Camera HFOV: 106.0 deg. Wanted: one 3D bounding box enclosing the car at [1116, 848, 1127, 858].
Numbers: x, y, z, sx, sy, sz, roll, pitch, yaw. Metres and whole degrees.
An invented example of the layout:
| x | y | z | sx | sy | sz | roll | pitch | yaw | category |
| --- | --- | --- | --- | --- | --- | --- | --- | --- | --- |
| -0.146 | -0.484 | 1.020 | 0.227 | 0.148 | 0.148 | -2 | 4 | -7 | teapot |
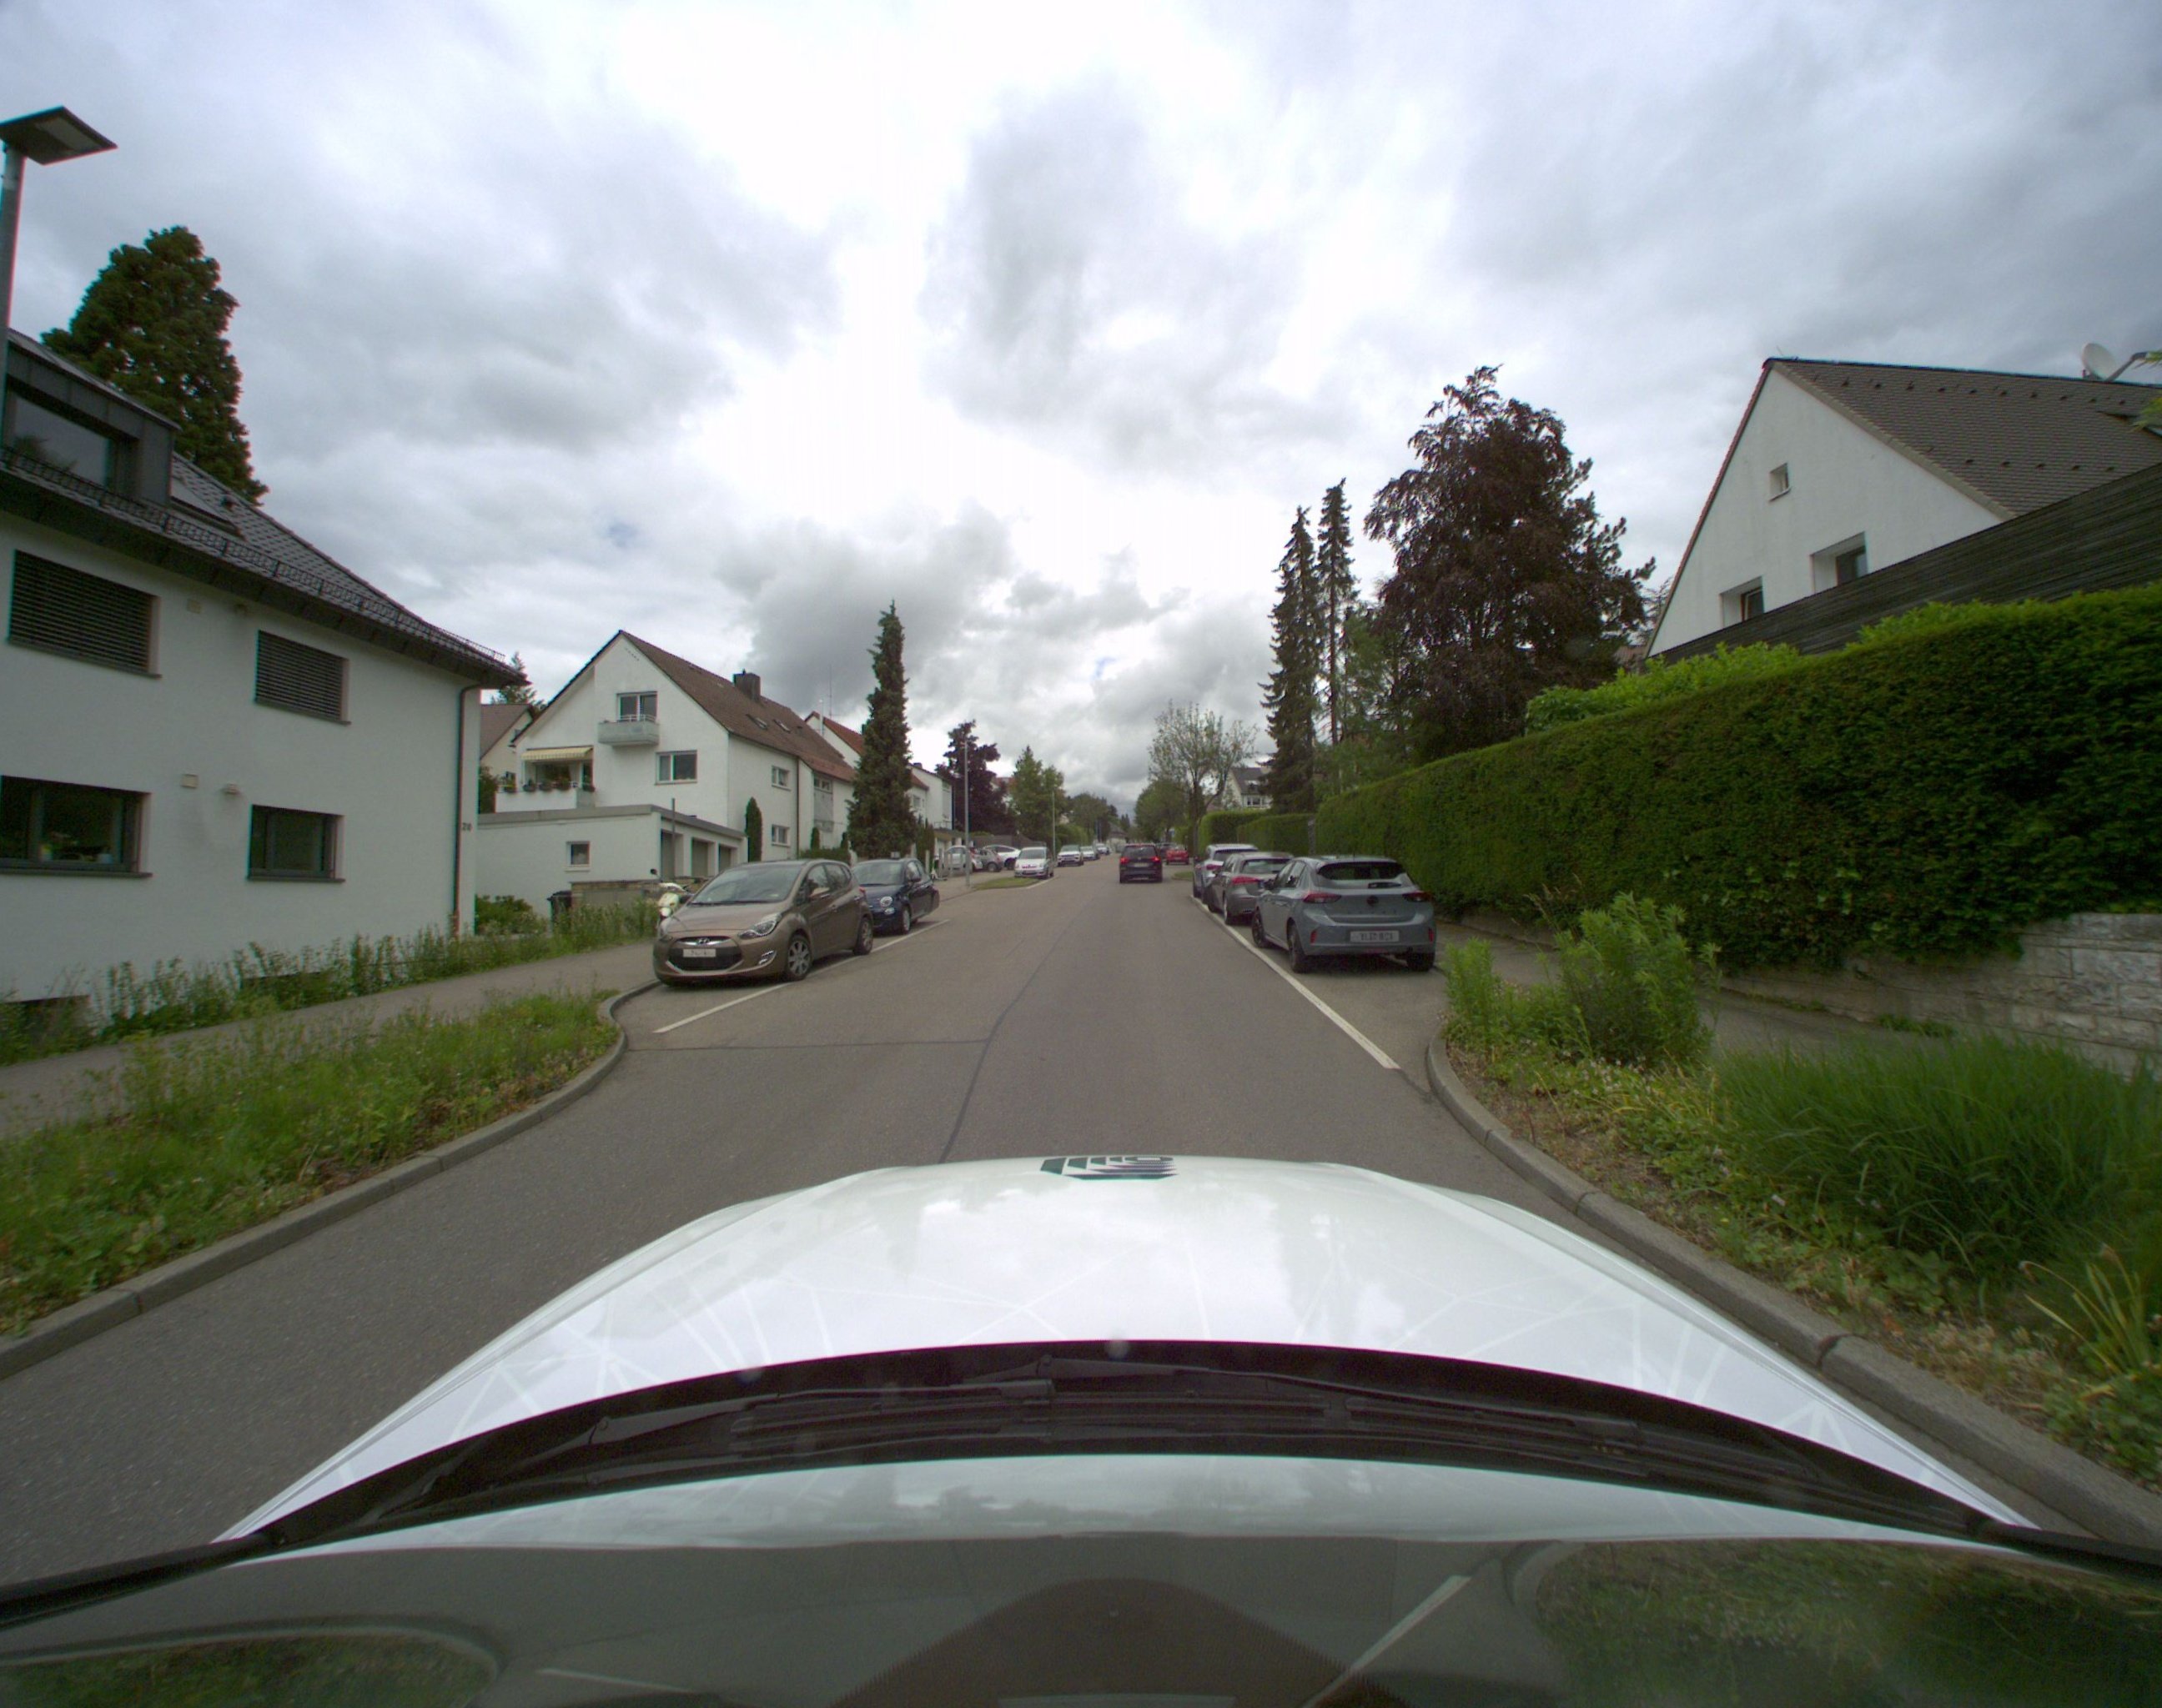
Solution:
| x | y | z | sx | sy | sz | roll | pitch | yaw | category |
| --- | --- | --- | --- | --- | --- | --- | --- | --- | --- |
| 7.816 | -0.244 | 156.664 | 1.877 | 1.850 | 4.406 | -2 | 0 | 4 | car |

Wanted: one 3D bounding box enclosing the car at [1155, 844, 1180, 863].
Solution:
| x | y | z | sx | sy | sz | roll | pitch | yaw | category |
| --- | --- | --- | --- | --- | --- | --- | --- | --- | --- |
| 7.425 | -0.058 | 70.193 | 1.984 | 1.618 | 4.520 | 1 | 0 | 5 | car |

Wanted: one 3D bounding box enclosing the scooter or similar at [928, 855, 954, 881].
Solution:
| x | y | z | sx | sy | sz | roll | pitch | yaw | category |
| --- | --- | --- | --- | --- | --- | --- | --- | --- | --- |
| -6.310 | 0.621 | 36.864 | 0.470 | 1.148 | 1.462 | 1 | 1 | 20 | scooter or similar |

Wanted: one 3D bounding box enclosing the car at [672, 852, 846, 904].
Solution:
| x | y | z | sx | sy | sz | roll | pitch | yaw | category |
| --- | --- | --- | --- | --- | --- | --- | --- | --- | --- |
| -9.327 | 0.675 | 23.872 | 4.274 | 1.367 | 1.903 | -1 | 1 | -2 | car |

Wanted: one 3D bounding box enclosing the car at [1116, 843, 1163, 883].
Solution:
| x | y | z | sx | sy | sz | roll | pitch | yaw | category |
| --- | --- | --- | --- | --- | --- | --- | --- | --- | --- |
| 2.552 | 0.355 | 34.828 | 1.839 | 1.611 | 4.317 | -1 | 0 | 5 | car |

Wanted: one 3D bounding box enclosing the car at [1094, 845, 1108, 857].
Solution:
| x | y | z | sx | sy | sz | roll | pitch | yaw | category |
| --- | --- | --- | --- | --- | --- | --- | --- | --- | --- |
| 2.616 | -0.417 | 106.206 | 1.716 | 1.540 | 4.002 | -2 | 1 | 2 | car |

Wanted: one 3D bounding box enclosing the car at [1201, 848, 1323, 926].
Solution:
| x | y | z | sx | sy | sz | roll | pitch | yaw | category |
| --- | --- | --- | --- | --- | --- | --- | --- | --- | --- |
| 3.734 | 0.622 | 17.495 | 1.847 | 1.464 | 4.175 | 0 | 0 | 2 | car |

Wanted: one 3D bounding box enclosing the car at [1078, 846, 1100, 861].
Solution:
| x | y | z | sx | sy | sz | roll | pitch | yaw | category |
| --- | --- | --- | --- | --- | --- | --- | --- | --- | --- |
| 0.839 | -0.085 | 81.840 | 1.829 | 1.422 | 4.413 | -3 | 0 | 4 | car |

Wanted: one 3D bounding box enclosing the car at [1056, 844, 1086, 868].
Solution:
| x | y | z | sx | sy | sz | roll | pitch | yaw | category |
| --- | --- | --- | --- | --- | --- | --- | --- | --- | --- |
| -0.759 | 0.119 | 63.202 | 1.828 | 1.666 | 4.415 | -3 | 0 | 5 | car |

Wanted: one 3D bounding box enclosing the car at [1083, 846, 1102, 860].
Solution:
| x | y | z | sx | sy | sz | roll | pitch | yaw | category |
| --- | --- | --- | --- | --- | --- | --- | --- | --- | --- |
| 1.263 | -0.137 | 86.768 | 1.719 | 1.423 | 4.085 | -2 | 0 | 5 | car |

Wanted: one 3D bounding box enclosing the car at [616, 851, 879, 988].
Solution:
| x | y | z | sx | sy | sz | roll | pitch | yaw | category |
| --- | --- | --- | --- | --- | --- | --- | --- | --- | --- |
| -4.471 | 0.774 | 11.653 | 1.869 | 1.585 | 3.877 | -1 | 0 | 5 | car |

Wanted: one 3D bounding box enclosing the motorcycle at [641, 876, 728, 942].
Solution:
| x | y | z | sx | sy | sz | roll | pitch | yaw | category |
| --- | --- | --- | --- | --- | --- | --- | --- | --- | --- |
| -7.667 | 1.039 | 15.843 | 0.426 | 1.161 | 1.869 | -2 | -1 | 12 | motorcycle |

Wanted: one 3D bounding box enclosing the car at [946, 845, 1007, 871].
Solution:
| x | y | z | sx | sy | sz | roll | pitch | yaw | category |
| --- | --- | --- | --- | --- | --- | --- | --- | --- | --- |
| -6.472 | 0.252 | 50.737 | 3.412 | 1.512 | 1.695 | 1 | -1 | 5 | car |

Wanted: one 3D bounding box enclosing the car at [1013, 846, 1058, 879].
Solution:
| x | y | z | sx | sy | sz | roll | pitch | yaw | category |
| --- | --- | --- | --- | --- | --- | --- | --- | --- | --- |
| -2.280 | 0.403 | 41.460 | 1.753 | 1.563 | 3.860 | -2 | 0 | 4 | car |

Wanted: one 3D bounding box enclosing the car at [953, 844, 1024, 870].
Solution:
| x | y | z | sx | sy | sz | roll | pitch | yaw | category |
| --- | --- | --- | --- | --- | --- | --- | --- | --- | --- |
| -6.183 | 0.188 | 54.499 | 4.393 | 1.629 | 1.912 | 2 | 0 | 3 | car |

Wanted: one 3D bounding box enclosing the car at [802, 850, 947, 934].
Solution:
| x | y | z | sx | sy | sz | roll | pitch | yaw | category |
| --- | --- | --- | --- | --- | --- | --- | --- | --- | --- |
| -4.205 | 0.712 | 17.146 | 1.869 | 1.536 | 3.512 | -1 | 0 | 4 | car |

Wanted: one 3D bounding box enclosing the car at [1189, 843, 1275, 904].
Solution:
| x | y | z | sx | sy | sz | roll | pitch | yaw | category |
| --- | --- | --- | --- | --- | --- | --- | --- | --- | --- |
| 4.193 | 0.494 | 23.205 | 1.847 | 1.582 | 4.175 | 0 | 0 | 2 | car |

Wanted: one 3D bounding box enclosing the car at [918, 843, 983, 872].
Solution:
| x | y | z | sx | sy | sz | roll | pitch | yaw | category |
| --- | --- | --- | --- | --- | --- | --- | --- | --- | --- |
| -7.605 | 0.195 | 47.716 | 3.412 | 1.578 | 1.659 | 1 | -1 | 5 | car |

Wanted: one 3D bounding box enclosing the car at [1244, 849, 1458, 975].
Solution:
| x | y | z | sx | sy | sz | roll | pitch | yaw | category |
| --- | --- | --- | --- | --- | --- | --- | --- | --- | --- |
| 3.538 | 0.669 | 11.483 | 1.847 | 1.464 | 4.003 | 0 | 0 | 2 | car |

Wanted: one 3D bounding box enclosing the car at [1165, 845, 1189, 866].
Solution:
| x | y | z | sx | sy | sz | roll | pitch | yaw | category |
| --- | --- | --- | --- | --- | --- | --- | --- | --- | --- |
| 7.101 | 0.076 | 60.559 | 1.653 | 1.508 | 3.763 | -1 | 1 | 4 | car |
